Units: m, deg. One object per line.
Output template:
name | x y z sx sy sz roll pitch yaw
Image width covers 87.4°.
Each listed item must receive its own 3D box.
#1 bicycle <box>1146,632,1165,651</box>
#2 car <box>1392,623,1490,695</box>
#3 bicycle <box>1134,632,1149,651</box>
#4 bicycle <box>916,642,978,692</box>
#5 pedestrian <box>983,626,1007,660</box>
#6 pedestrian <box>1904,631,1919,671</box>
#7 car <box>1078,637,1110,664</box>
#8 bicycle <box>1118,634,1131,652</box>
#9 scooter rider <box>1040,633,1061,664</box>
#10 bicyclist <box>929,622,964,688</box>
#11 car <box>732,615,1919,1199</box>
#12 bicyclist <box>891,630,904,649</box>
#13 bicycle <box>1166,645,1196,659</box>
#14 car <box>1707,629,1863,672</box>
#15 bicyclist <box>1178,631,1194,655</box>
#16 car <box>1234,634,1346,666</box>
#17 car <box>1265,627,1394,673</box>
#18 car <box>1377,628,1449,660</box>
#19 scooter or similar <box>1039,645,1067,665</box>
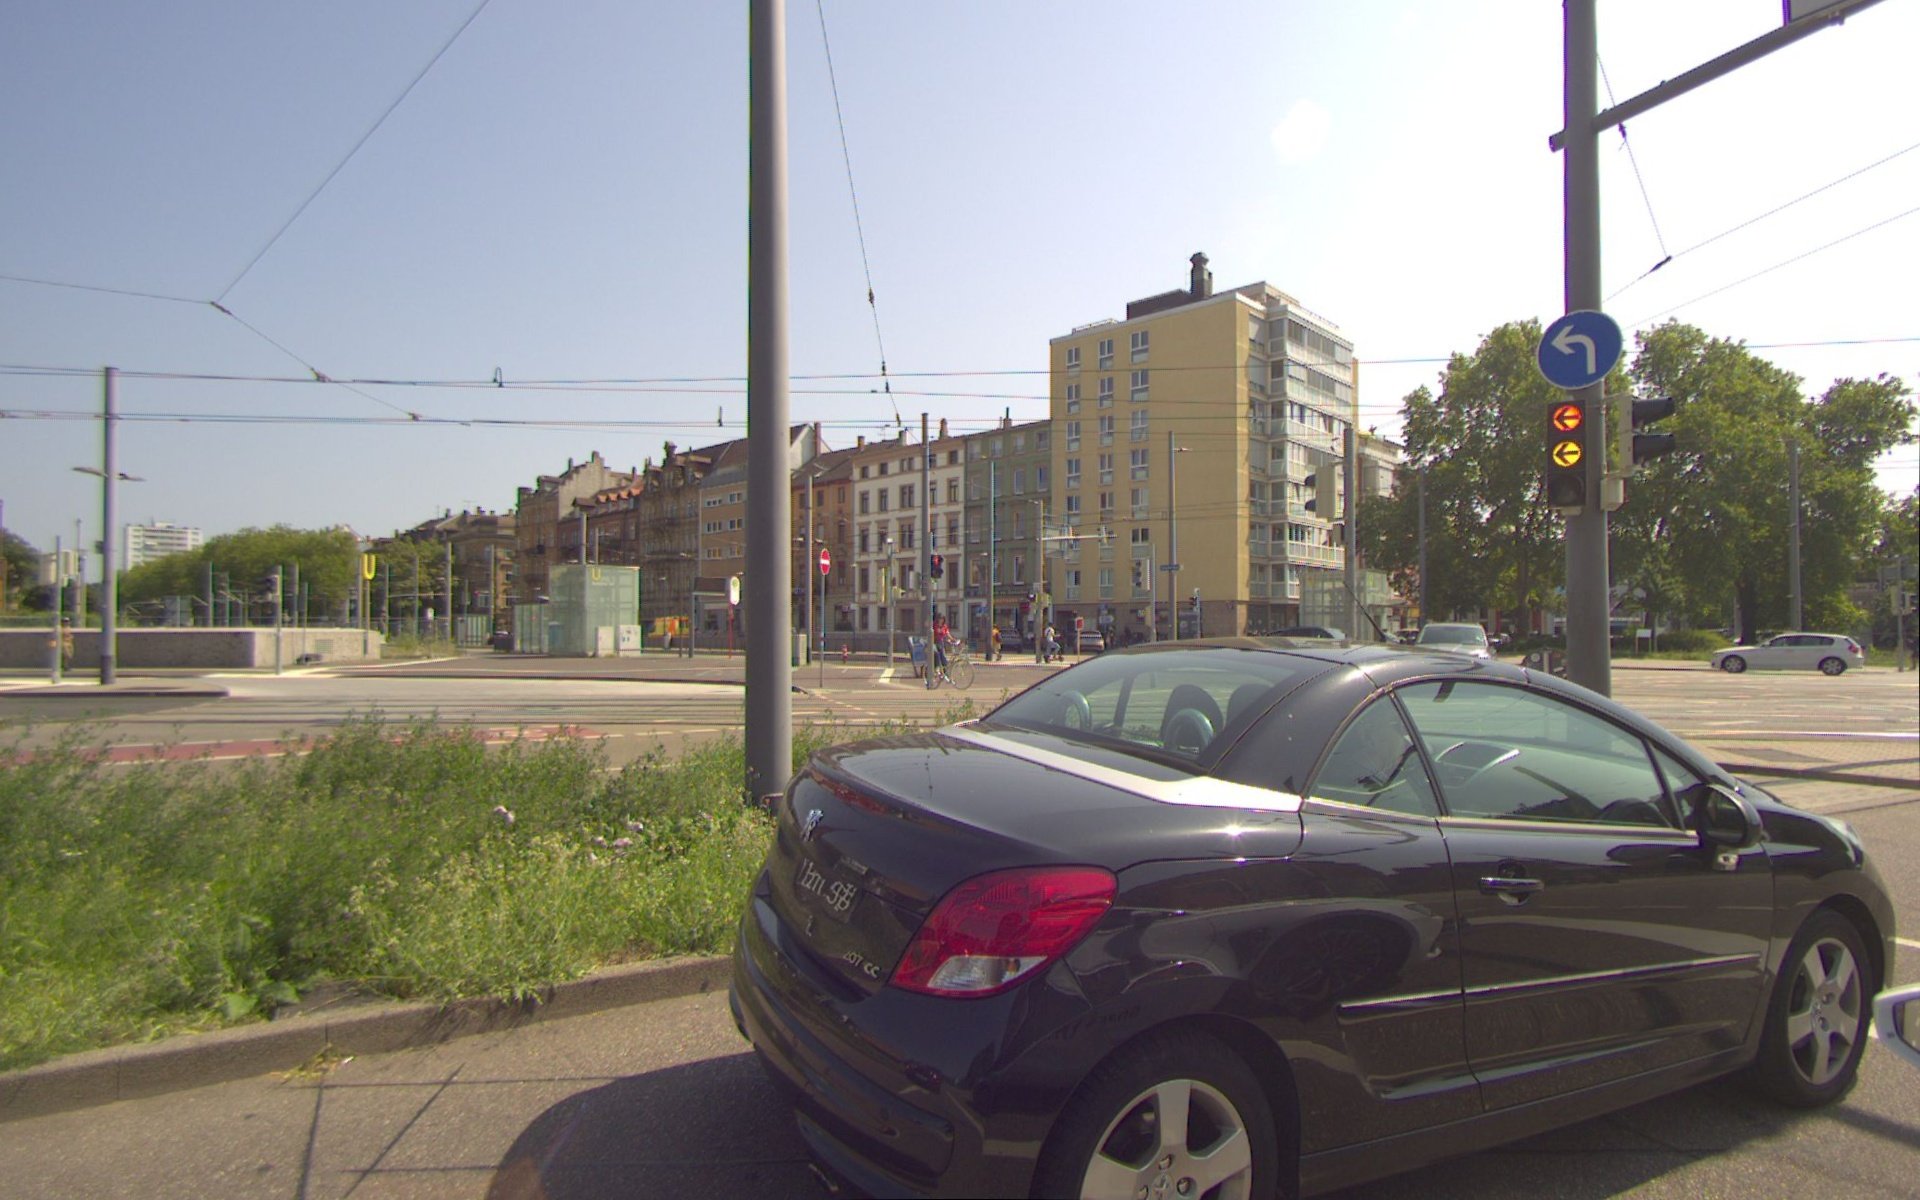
bicycle | 13.022 2.770 67.054 0.892 1.220 3.265 0 -2 5
car | 11.841 1.397 24.985 1.736 1.621 4.544 0 -2 20
bicycle | 12.268 2.788 68.073 0.680 1.220 3.265 0 -2 5
bicycle | -0.329 1.574 23.859 0.499 1.108 1.918 1 -2 -35
pedestrian | 1.626 1.984 46.853 0.852 1.563 0.734 2 -2 -41
pedestrian | 40.174 2.144 42.325 0.547 1.706 0.452 -1 -2 42
car | 8.156 3.048 61.440 1.712 1.528 4.002 0 -2 4
bicycle | 11.279 2.919 69.058 0.680 1.220 2.793 0 -2 5
scooter rider | 3.974 2.126 44.102 0.602 1.371 0.682 1 -2 -35
bicyclist | -0.313 1.300 23.987 0.632 1.529 0.553 1 -2 -36
car | 1.322 0.791 3.277 3.731 1.406 1.760 1 0 -26
bicyclist | -5.058 3.198 81.905 0.897 1.528 0.558 -1 -2 30
bicycle | 14.268 3.353 64.815 1.836 0.813 0.604 -1 -2 43
car | 28.861 1.732 35.255 4.141 1.434 1.767 -1 -2 42
bicyclist | 14.543 2.774 64.567 0.861 1.495 0.543 -1 -2 43
car | 15.444 2.313 47.103 4.700 1.434 1.767 -1 -2 42
car | 13.512 1.789 36.939 1.726 1.581 4.156 2 -2 -42
car | 30.034 2.921 66.635 3.946 2.040 1.919 -1 -2 44
scooter or similar | 4.072 2.403 43.888 1.132 0.835 0.517 1 -2 -35
